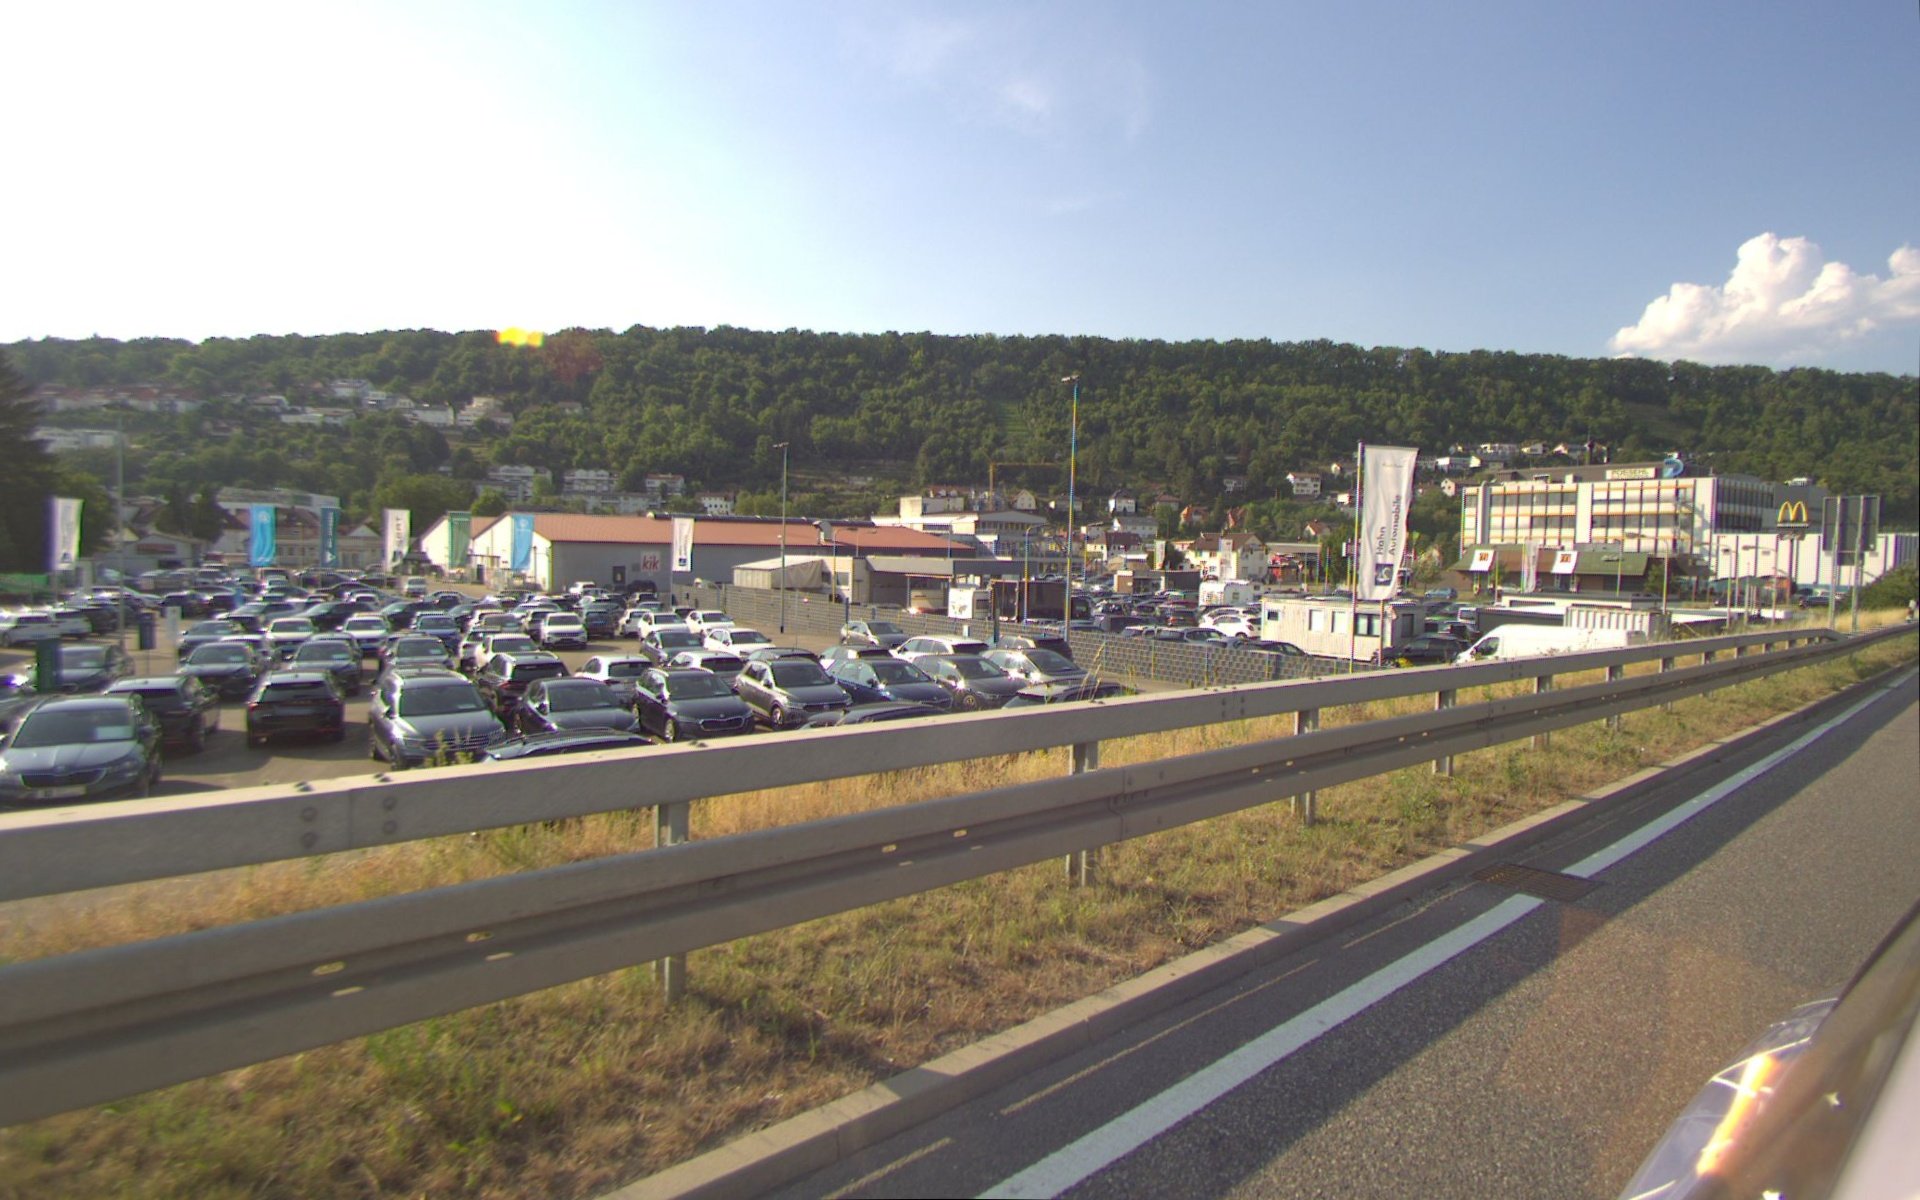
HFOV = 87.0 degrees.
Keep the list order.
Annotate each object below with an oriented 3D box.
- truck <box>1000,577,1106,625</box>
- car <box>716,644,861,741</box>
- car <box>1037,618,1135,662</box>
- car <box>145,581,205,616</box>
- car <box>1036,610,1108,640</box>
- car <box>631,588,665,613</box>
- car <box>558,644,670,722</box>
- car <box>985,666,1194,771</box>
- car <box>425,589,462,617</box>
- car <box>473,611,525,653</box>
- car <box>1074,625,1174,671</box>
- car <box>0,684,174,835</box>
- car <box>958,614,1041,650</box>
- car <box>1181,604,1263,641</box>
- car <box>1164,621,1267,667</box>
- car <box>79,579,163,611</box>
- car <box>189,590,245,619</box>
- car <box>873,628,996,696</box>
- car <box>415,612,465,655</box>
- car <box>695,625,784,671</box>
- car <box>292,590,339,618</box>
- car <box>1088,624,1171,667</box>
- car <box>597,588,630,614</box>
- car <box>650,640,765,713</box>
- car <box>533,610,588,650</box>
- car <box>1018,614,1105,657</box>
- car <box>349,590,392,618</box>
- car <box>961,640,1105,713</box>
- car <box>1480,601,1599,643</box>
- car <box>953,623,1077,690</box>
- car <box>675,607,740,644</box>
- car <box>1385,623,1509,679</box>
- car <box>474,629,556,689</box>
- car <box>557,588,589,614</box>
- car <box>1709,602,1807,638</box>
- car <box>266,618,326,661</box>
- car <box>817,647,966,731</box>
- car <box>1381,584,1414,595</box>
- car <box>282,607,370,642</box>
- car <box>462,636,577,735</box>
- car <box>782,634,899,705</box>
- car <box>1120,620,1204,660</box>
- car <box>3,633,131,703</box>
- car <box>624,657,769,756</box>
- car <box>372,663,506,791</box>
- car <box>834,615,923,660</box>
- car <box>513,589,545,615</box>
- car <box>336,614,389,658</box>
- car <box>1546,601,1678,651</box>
[{"bbox_3d":[5.026,-0.010,53.954,5.861,2.400,1.999,-1,1,-38],"label":"truck"},{"bbox_3d":[-4.148,2.075,23.940,1.766,1.735,4.435,-1,1,-33],"label":"car"},{"bbox_3d":[5.429,1.669,43.369,4.204,1.614,1.602,-1,1,-35],"label":"car"},{"bbox_3d":[-48.993,-0.129,63.236,1.958,2.039,4.008,1,1,-23],"label":"car"},{"bbox_3d":[6.439,1.415,58.660,1.766,1.562,4.347,-1,2,-34],"label":"car"},{"bbox_3d":[-22.963,0.017,74.463,1.958,1.738,4.008,1,1,-23],"label":"car"},{"bbox_3d":[-9.254,2.108,26.829,1.766,1.562,4.435,-1,2,-33],"label":"car"},{"bbox_3d":[2.732,2.331,20.803,4.354,1.562,1.798,-1,2,-40],"label":"car"},{"bbox_3d":[-34.733,0.163,68.122,1.958,1.738,4.008,1,1,-23],"label":"car"},{"bbox_3d":[-20.423,1.365,44.753,1.764,1.562,4.351,-1,1,-29],"label":"car"},{"bbox_3d":[6.731,1.919,41.362,4.162,1.614,1.602,-1,1,-35],"label":"car"},{"bbox_3d":[-13.871,2.382,16.095,1.765,1.627,4.435,1,0,-33],"label":"car"},{"bbox_3d":[1.953,1.554,49.900,3.819,1.562,1.800,-1,1,-36],"label":"car"},{"bbox_3d":[14.126,1.175,54.704,1.772,1.677,4.000,-1,4,-37],"label":"car"},{"bbox_3d":[11.128,1.874,44.011,4.412,1.722,1.972,-1,1,-35],"label":"car"},{"bbox_3d":[-55.785,-0.371,67.385,3.918,2.039,2.003,-1,1,-27],"label":"car"},{"bbox_3d":[-46.949,0.264,64.020,1.958,1.738,4.008,1,1,-23],"label":"car"},{"bbox_3d":[-0.878,1.850,31.461,1.766,1.735,4.435,-1,1,-33],"label":"car"},{"bbox_3d":[-22.444,1.391,43.619,1.764,1.562,4.351,-1,1,-29],"label":"car"},{"bbox_3d":[-8.233,1.731,37.579,1.766,1.385,4.435,-1,2,-33],"label":"car"},{"bbox_3d":[-42.059,0.248,66.123,1.958,1.738,4.008,1,1,-23],"label":"car"},{"bbox_3d":[8.124,2.131,48.326,3.944,1.824,1.602,-1,1,-35],"label":"car"},{"bbox_3d":[-25.095,0.041,73.180,1.958,1.738,4.008,1,1,-23],"label":"car"},{"bbox_3d":[-7.097,2.030,28.119,1.766,1.562,4.435,-1,2,-33],"label":"car"},{"bbox_3d":[-18.195,1.304,45.965,1.764,1.562,4.351,-1,1,-29],"label":"car"},{"bbox_3d":[4.581,1.551,45.581,3.817,1.722,1.602,-1,1,-35],"label":"car"},{"bbox_3d":[-39.119,0.216,67.230,1.958,1.738,4.008,1,1,-23],"label":"car"},{"bbox_3d":[1.929,2.017,27.661,1.754,1.562,3.984,-1,2,-37],"label":"car"},{"bbox_3d":[26.710,0.992,46.749,2.092,1.772,4.332,1,0,-39],"label":"car"},{"bbox_3d":[1.699,1.759,33.041,1.766,1.735,4.436,-1,2,-33],"label":"car"},{"bbox_3d":[-12.512,1.218,49.935,1.766,1.562,4.348,-1,2,-33],"label":"car"},{"bbox_3d":[20.159,2.043,41.940,4.532,2.039,1.882,1,1,30],"label":"car"},{"bbox_3d":[-14.677,1.873,33.248,1.766,1.562,4.435,-1,2,-33],"label":"car"},{"bbox_3d":[-27.552,0.075,71.979,1.958,1.738,4.008,1,1,-23],"label":"car"},{"bbox_3d":[44.361,1.076,56.301,1.802,1.838,3.996,-1,2,-39],"label":"car"},{"bbox_3d":[-26.828,1.547,40.982,1.677,1.482,4.006,-1,1,-28],"label":"car"},{"bbox_3d":[-1.806,2.129,25.175,1.766,1.562,4.435,-1,2,-33],"label":"car"},{"bbox_3d":[58.568,-1.374,135.549,1.658,1.438,3.653,-1,2,-36],"label":"car"},{"bbox_3d":[-34.228,1.295,54.756,1.814,1.660,3.986,0,1,12],"label":"car"},{"bbox_3d":[-10.878,1.992,24.809,1.767,1.723,4.436,-5,5,-33],"label":"car"},{"bbox_3d":[-3.706,2.032,30.806,1.766,1.735,4.435,-1,1,-33],"label":"car"},{"bbox_3d":[9.218,1.804,46.117,3.817,1.583,1.602,-1,1,-35],"label":"car"},{"bbox_3d":[-23.831,1.742,27.168,1.677,1.482,4.006,-1,1,-28],"label":"car"},{"bbox_3d":[-5.872,2.226,22.188,1.766,1.562,4.435,-1,2,-33],"label":"car"},{"bbox_3d":[-9.885,2.239,19.028,1.806,1.687,4.435,-1,1,-33],"label":"car"},{"bbox_3d":[-3.430,1.499,41.716,1.766,1.562,4.435,-1,2,-33],"label":"car"},{"bbox_3d":[-29.965,0.110,70.372,1.958,1.738,4.008,1,1,-23],"label":"car"},{"bbox_3d":[-24.913,1.471,42.294,1.764,1.562,4.351,-1,1,-29],"label":"car"},{"bbox_3d":[25.579,0.973,39.789,1.868,1.771,3.996,-1,2,-39],"label":"car"}]
